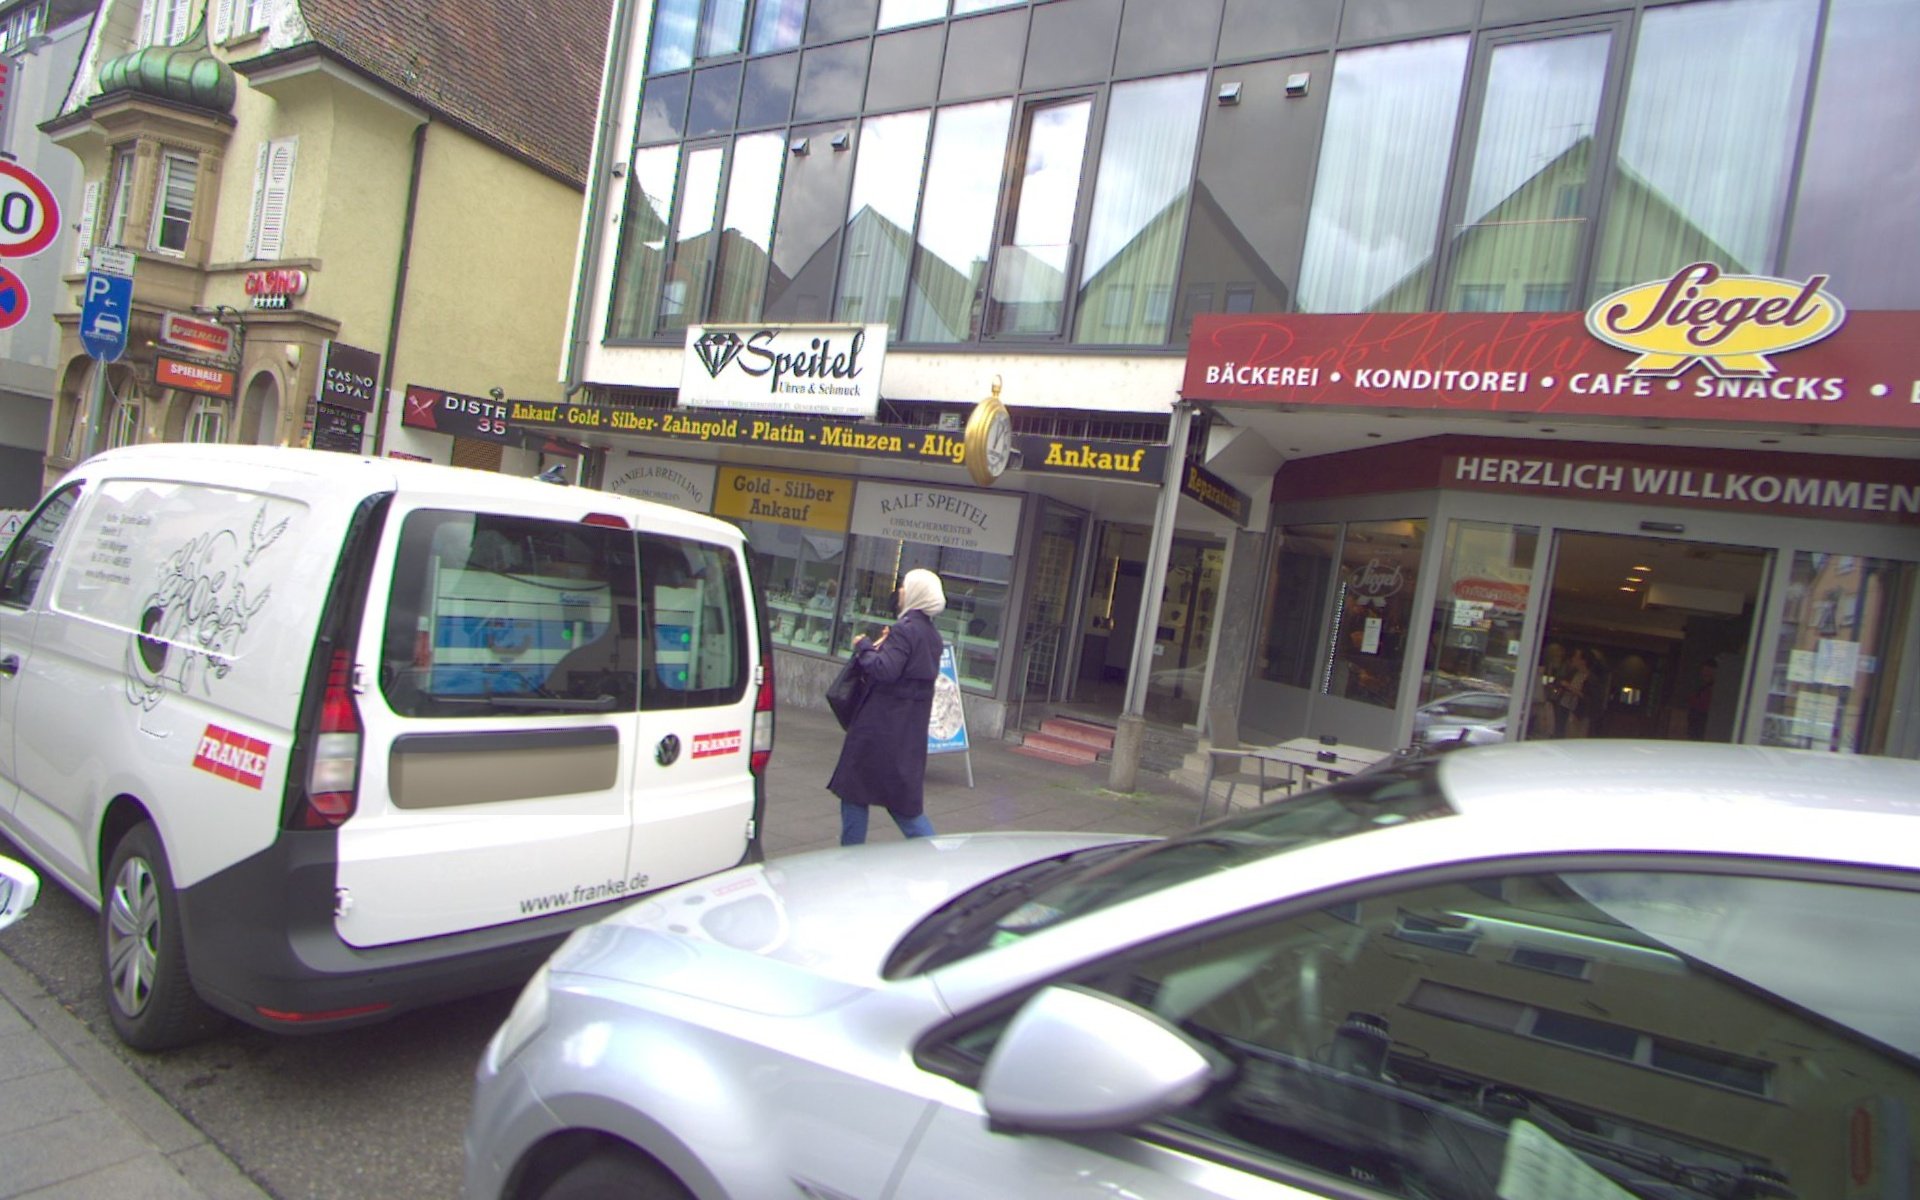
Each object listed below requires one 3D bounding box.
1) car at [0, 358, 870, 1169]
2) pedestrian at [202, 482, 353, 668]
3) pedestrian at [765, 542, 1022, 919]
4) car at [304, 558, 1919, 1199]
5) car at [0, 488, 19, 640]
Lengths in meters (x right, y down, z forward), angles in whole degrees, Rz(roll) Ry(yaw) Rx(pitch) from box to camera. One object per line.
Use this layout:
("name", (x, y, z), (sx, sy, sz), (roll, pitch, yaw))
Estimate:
("car", (-2.850, 0.249, 4.386), (4.659, 1.821, 1.877), (6, -1, 36))
("pedestrian", (-6.941, -0.246, 10.229), (1.036, 1.748, 0.797), (6, 0, 33))
("pedestrian", (-0.330, 0.616, 5.139), (0.790, 1.686, 0.823), (7, 0, 38))
("car", (0.941, 0.908, 1.602), (3.932, 1.485, 1.705), (6, 0, 30))
("car", (-11.717, -0.576, 10.448), (3.809, 1.528, 1.750), (6, 1, 30))
